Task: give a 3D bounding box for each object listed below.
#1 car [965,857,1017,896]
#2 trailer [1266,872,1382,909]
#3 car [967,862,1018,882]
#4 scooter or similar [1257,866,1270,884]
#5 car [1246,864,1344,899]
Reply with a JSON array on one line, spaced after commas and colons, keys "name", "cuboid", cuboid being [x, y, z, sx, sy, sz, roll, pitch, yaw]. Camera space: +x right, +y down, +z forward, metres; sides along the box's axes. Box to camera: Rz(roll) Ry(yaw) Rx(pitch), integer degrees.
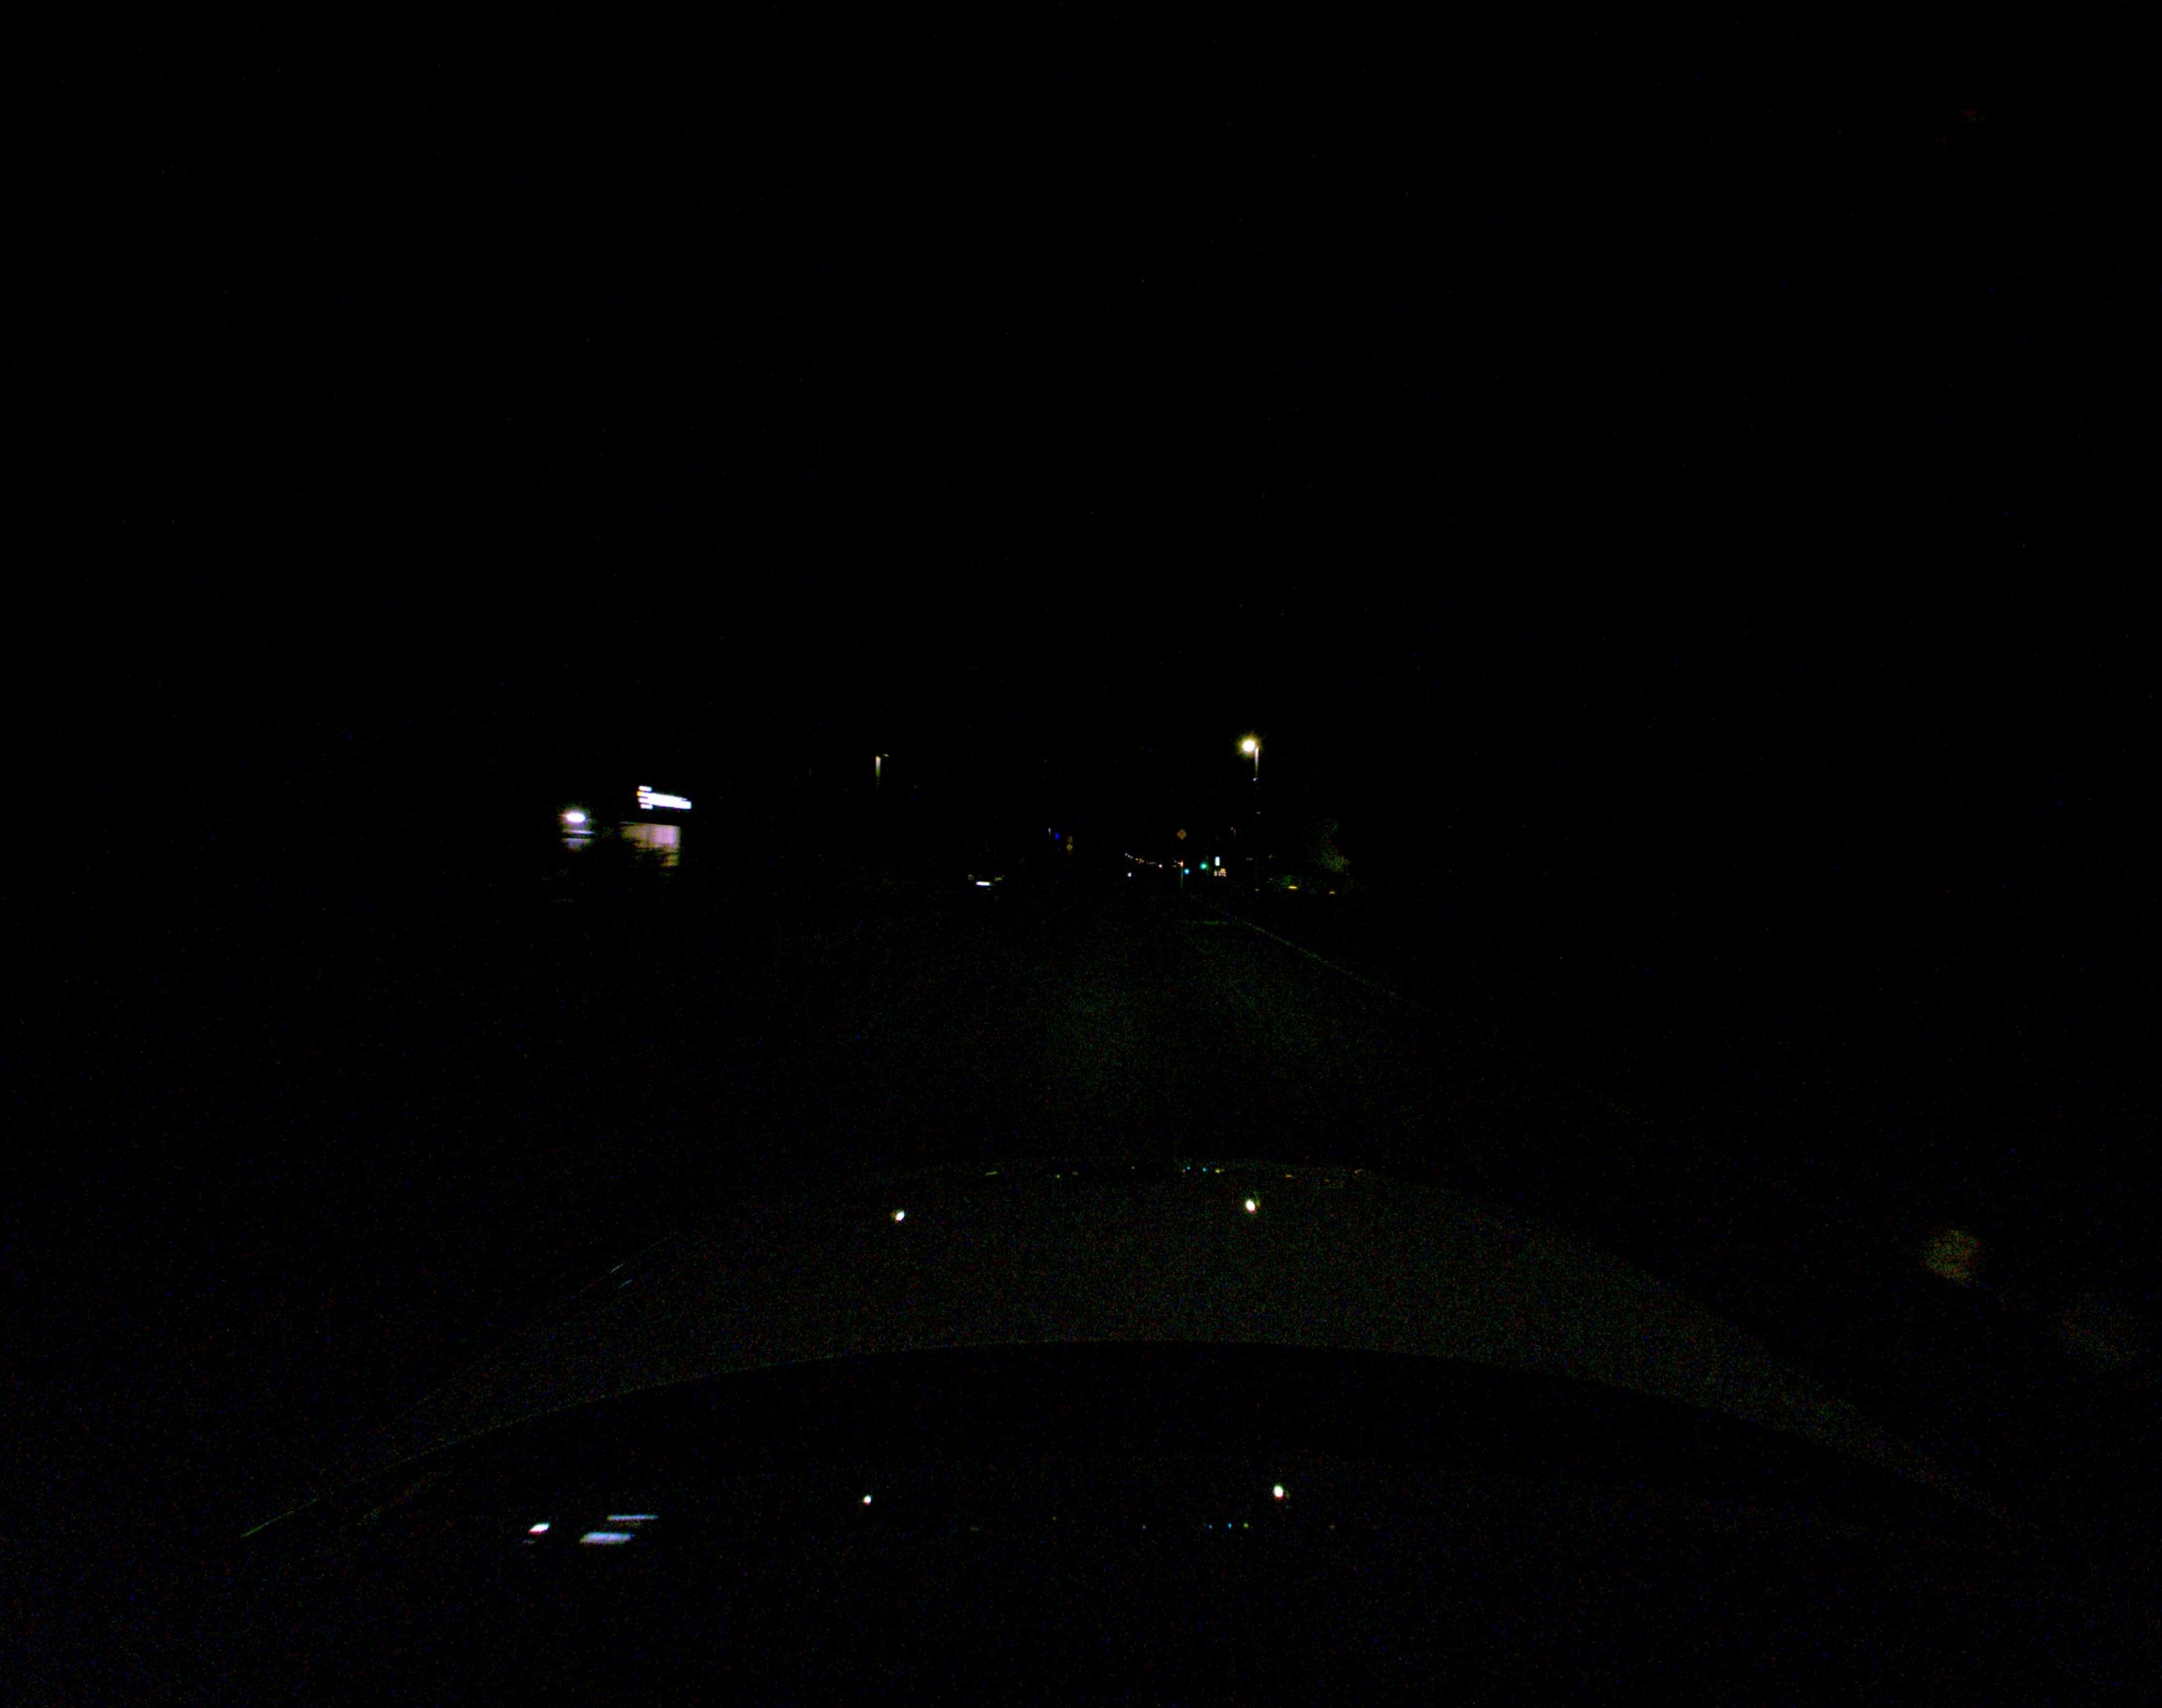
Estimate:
[{"name": "car", "cuboid": [-3.898, 0.965, 35.797, 1.666, 1.591, 3.988, 1, 0, 2]}, {"name": "trailer", "cuboid": [8.282, 1.216, 27.994, 3.419, 1.002, 1.955, 3, 0, 2]}, {"name": "car", "cuboid": [-7.196, 1.470, 66.239, 3.681, 1.627, 1.792, -1, -1, 21]}, {"name": "scooter or similar", "cuboid": [13.712, 1.551, 61.153, 0.609, 1.281, 1.690, 1, -1, 1]}, {"name": "car", "cuboid": [8.257, 1.062, 31.647, 3.380, 1.232, 1.724, -1, 0, 0]}]
